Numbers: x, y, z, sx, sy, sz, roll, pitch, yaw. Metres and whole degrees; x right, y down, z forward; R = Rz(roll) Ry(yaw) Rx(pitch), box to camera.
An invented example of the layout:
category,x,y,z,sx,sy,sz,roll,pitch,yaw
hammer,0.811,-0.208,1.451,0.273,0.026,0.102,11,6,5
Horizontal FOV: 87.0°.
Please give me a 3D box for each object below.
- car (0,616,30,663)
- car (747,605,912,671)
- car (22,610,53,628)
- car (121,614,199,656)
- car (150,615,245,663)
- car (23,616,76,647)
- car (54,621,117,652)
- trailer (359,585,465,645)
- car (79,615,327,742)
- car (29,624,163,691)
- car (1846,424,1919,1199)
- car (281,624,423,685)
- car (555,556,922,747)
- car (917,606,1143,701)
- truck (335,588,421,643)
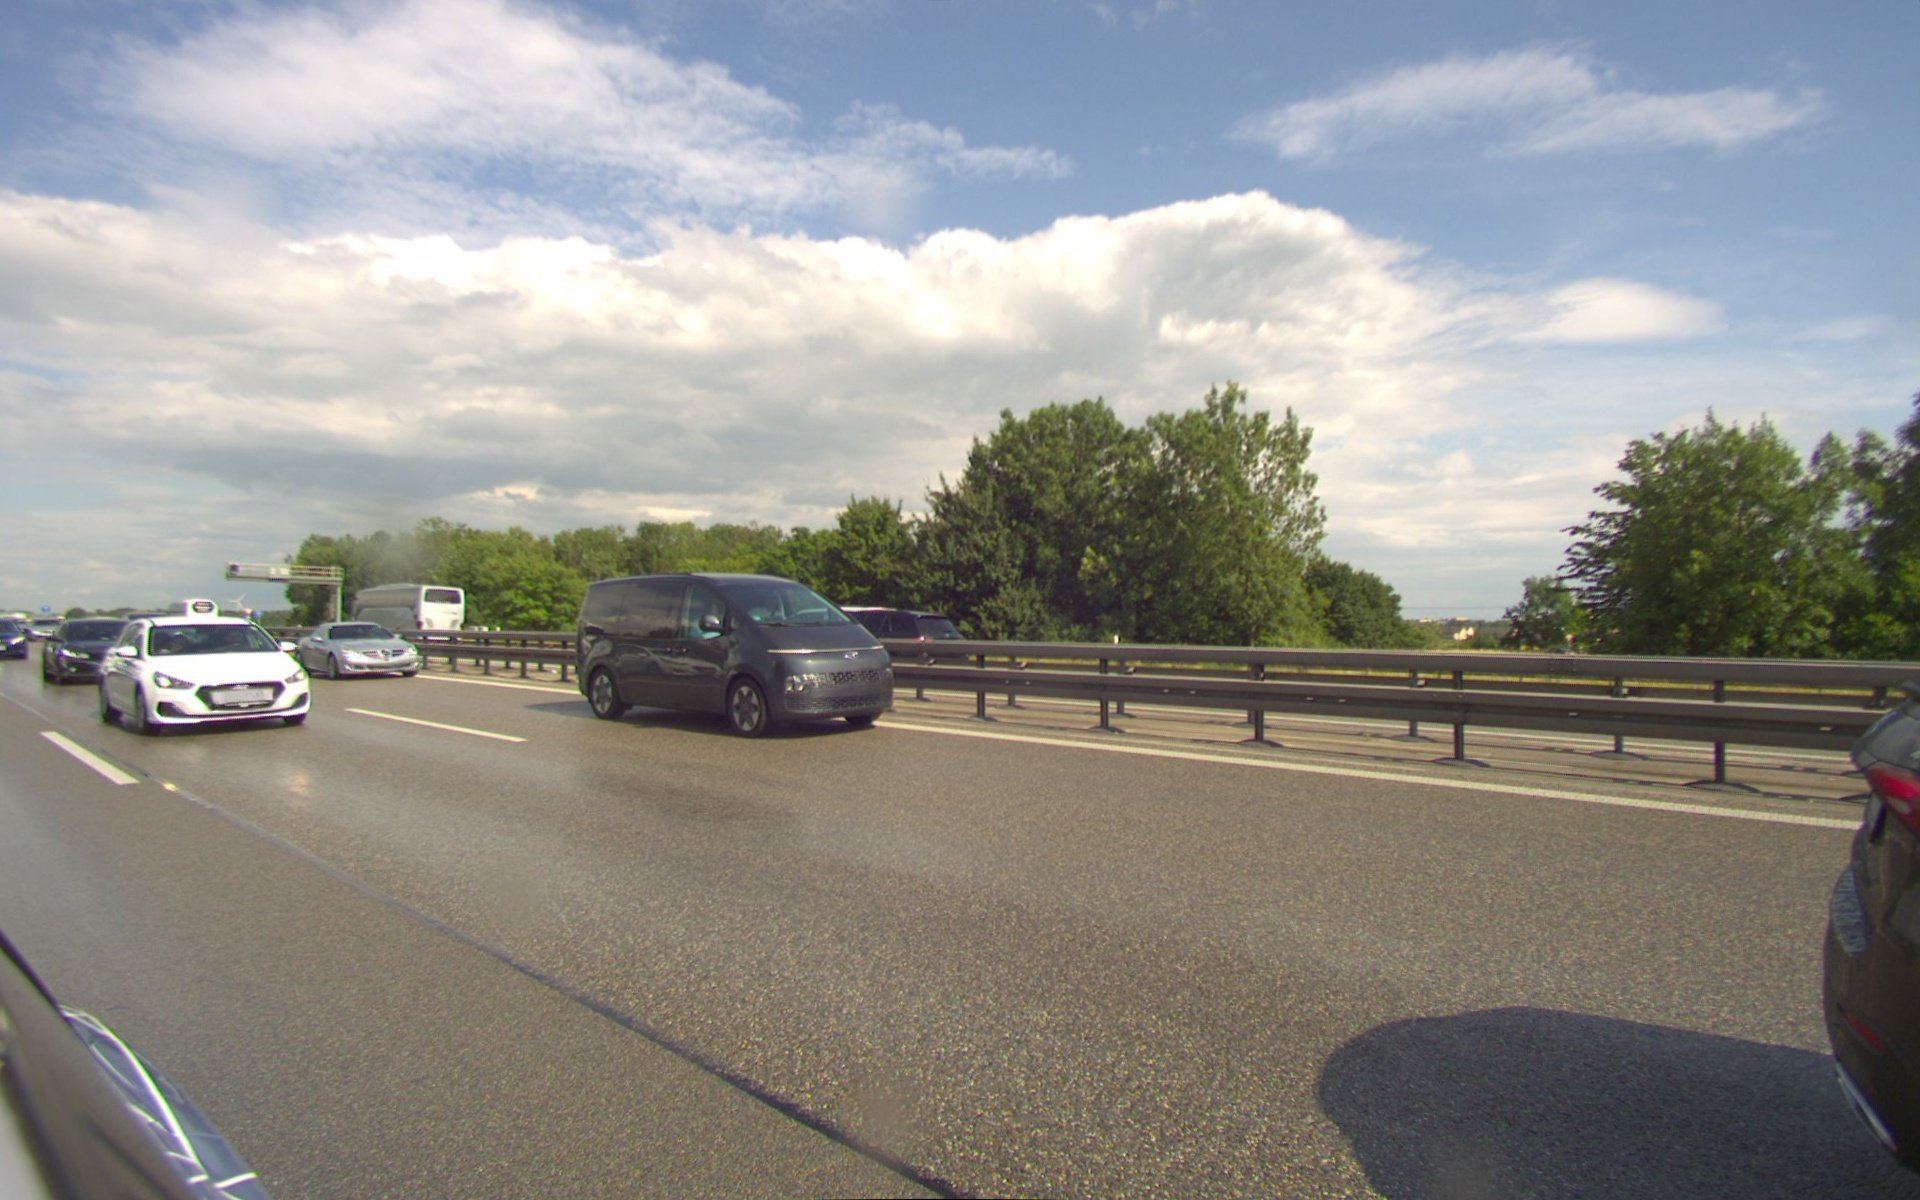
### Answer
category,x,y,z,sx,sy,sz,roll,pitch,yaw
car,-33.777,1.367,34.965,3.998,1.497,1.973,0,1,41
car,-3.850,1.061,29.299,4.943,1.747,1.973,-1,-1,41
car,-96.466,1.967,105.799,4.459,1.792,1.972,-1,-1,42
car,-32.730,1.405,41.359,4.228,1.618,1.850,-1,-1,42
car,-24.896,1.223,33.009,4.138,1.436,1.747,-1,0,42
car,-56.442,1.926,62.731,3.998,1.761,1.973,0,1,41
car,-42.323,1.733,48.963,3.998,1.389,1.748,0,-1,41
trailer,-33.328,0.929,61.336,9.560,3.407,2.700,-1,-1,43
car,-10.553,0.955,13.977,4.546,1.466,1.862,-1,-1,41
car,-19.468,1.229,22.746,4.285,1.348,1.706,-1,-1,41
car,3.860,0.523,1.035,4.404,1.674,1.973,-1,-1,41
car,-14.272,1.211,23.666,4.061,1.288,1.706,-1,-1,41
car,-3.077,0.591,13.231,5.267,2.029,1.973,-1,-1,41
car,1.298,0.955,19.614,3.998,1.641,1.973,0,-2,41
truck,-37.725,1.006,65.438,7.592,3.407,2.700,-1,-1,43
